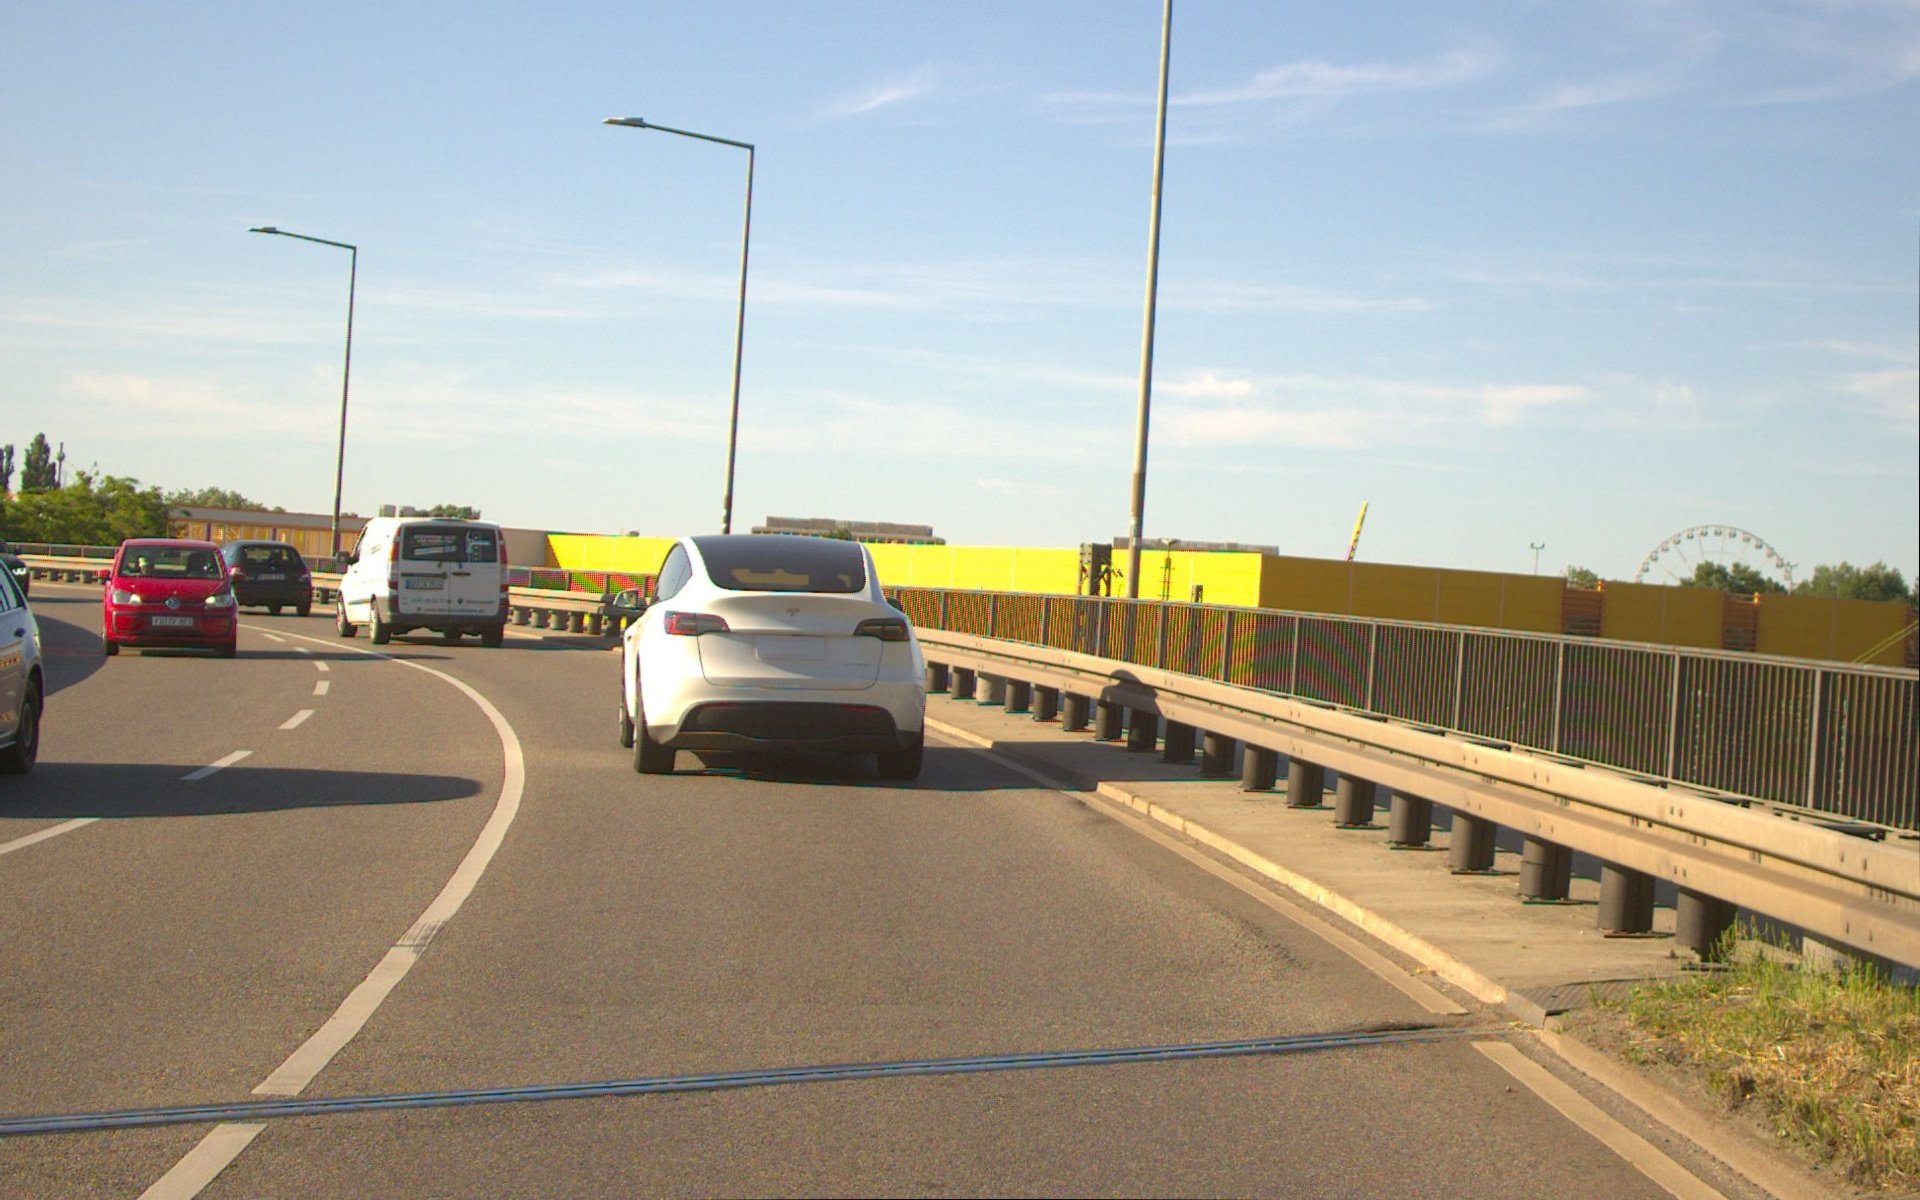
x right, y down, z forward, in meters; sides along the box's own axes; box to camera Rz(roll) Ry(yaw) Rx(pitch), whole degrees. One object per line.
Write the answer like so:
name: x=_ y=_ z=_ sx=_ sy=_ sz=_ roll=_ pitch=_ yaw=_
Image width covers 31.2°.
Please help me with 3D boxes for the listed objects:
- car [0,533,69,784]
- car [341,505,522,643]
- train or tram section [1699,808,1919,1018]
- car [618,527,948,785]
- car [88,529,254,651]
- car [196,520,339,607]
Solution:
car: x=-6.510 y=0.331 z=19.981 sx=1.724 sy=1.481 sz=4.408 roll=2 pitch=1 yaw=-3
car: x=-7.968 y=-0.422 z=51.532 sx=2.004 sy=1.934 sz=4.469 roll=2 pitch=1 yaw=-17
train or tram section: x=28.445 y=8.604 z=96.861 sx=16.824 sy=5.243 sz=3.337 roll=1 pitch=1 yaw=-30
car: x=-1.330 y=0.328 z=24.015 sx=1.985 sy=1.632 sz=4.063 roll=1 pitch=1 yaw=-7
car: x=-10.120 y=-0.157 z=43.916 sx=1.781 sy=1.432 sz=3.876 roll=1 pitch=1 yaw=-17
car: x=-13.472 y=-0.726 z=66.730 sx=1.968 sy=1.632 sz=4.001 roll=0 pitch=1 yaw=-22
